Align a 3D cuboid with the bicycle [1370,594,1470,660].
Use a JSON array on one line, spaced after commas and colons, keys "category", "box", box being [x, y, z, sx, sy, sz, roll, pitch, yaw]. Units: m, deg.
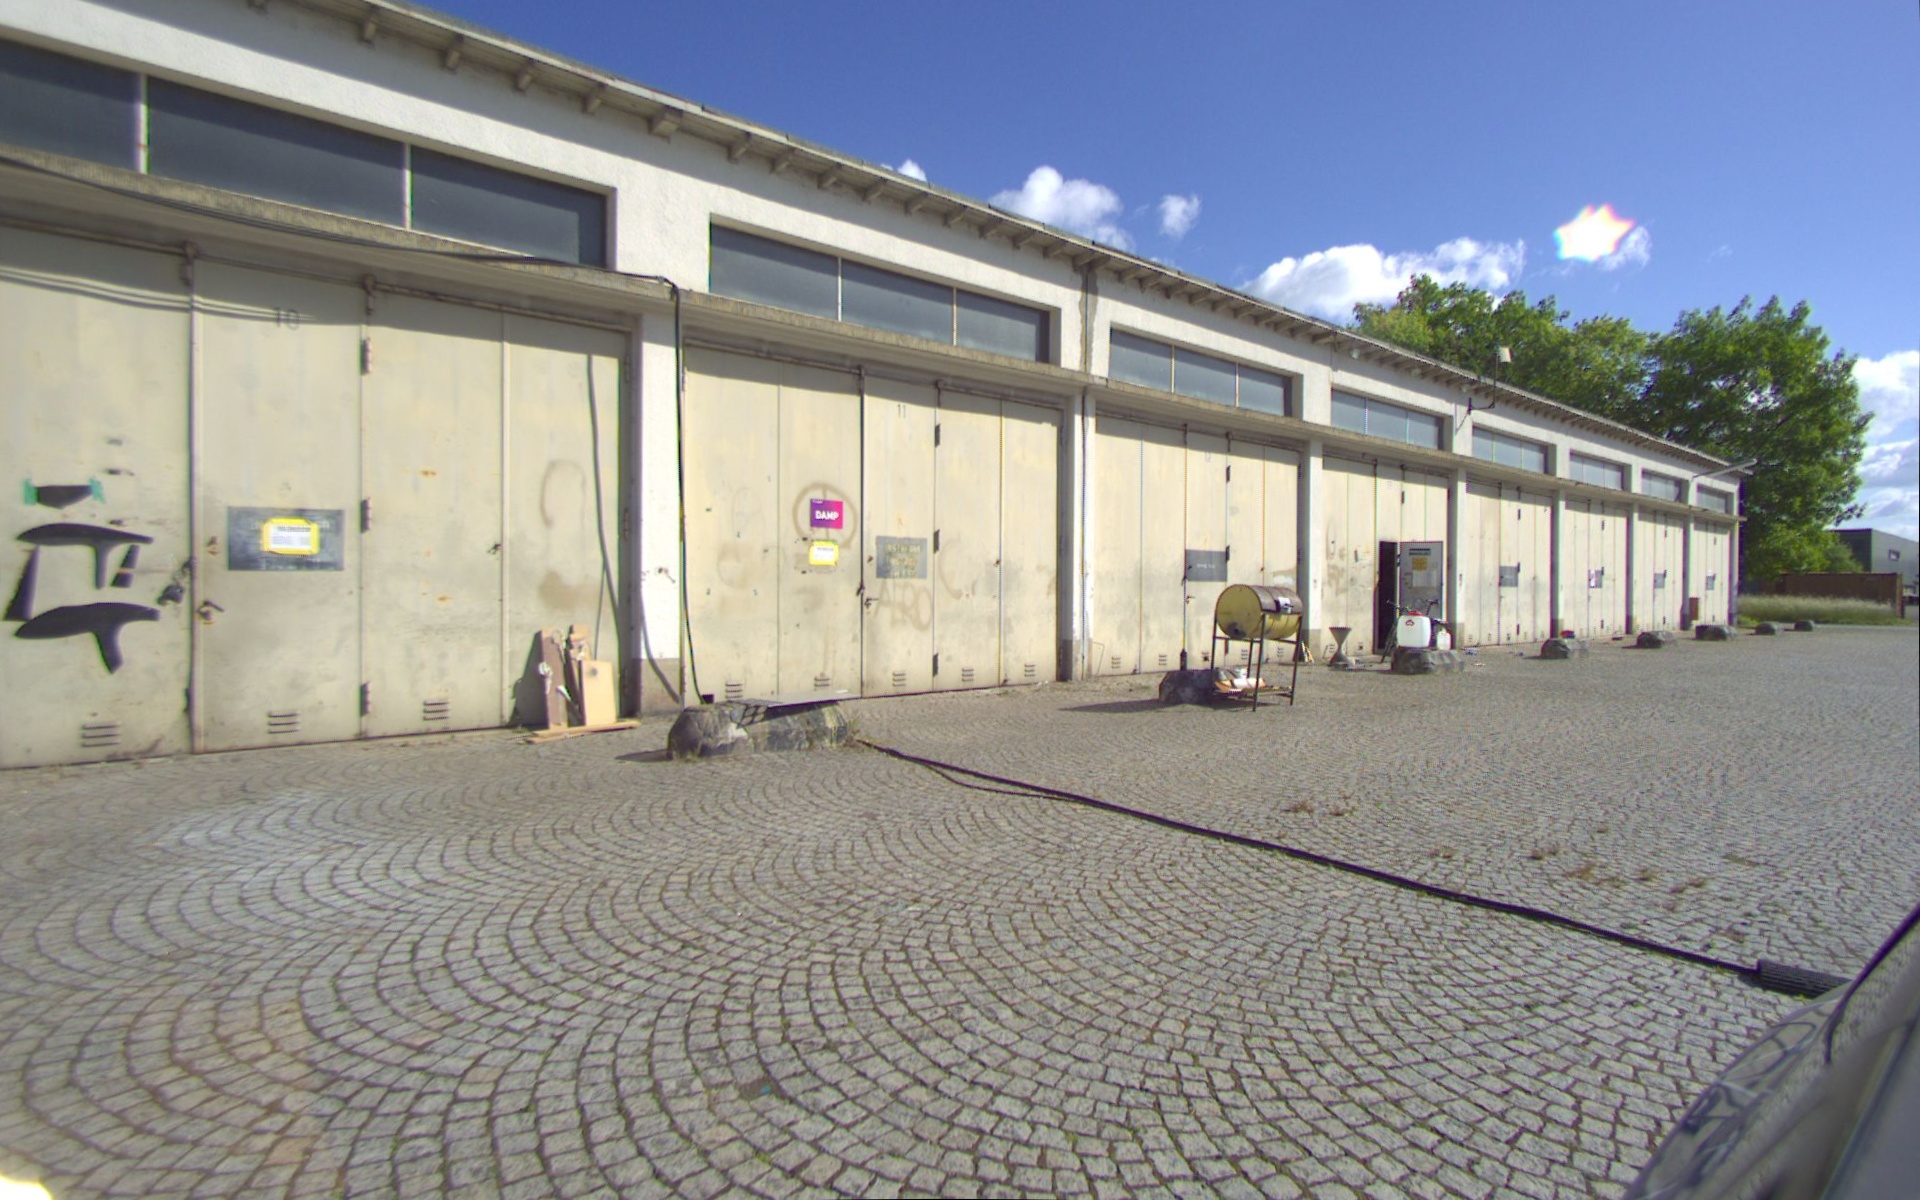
[{"category": "bicycle", "box": [8.149, 0.458, 17.923, 1.787, 1.081, 0.667, -1, 0, -29]}]
